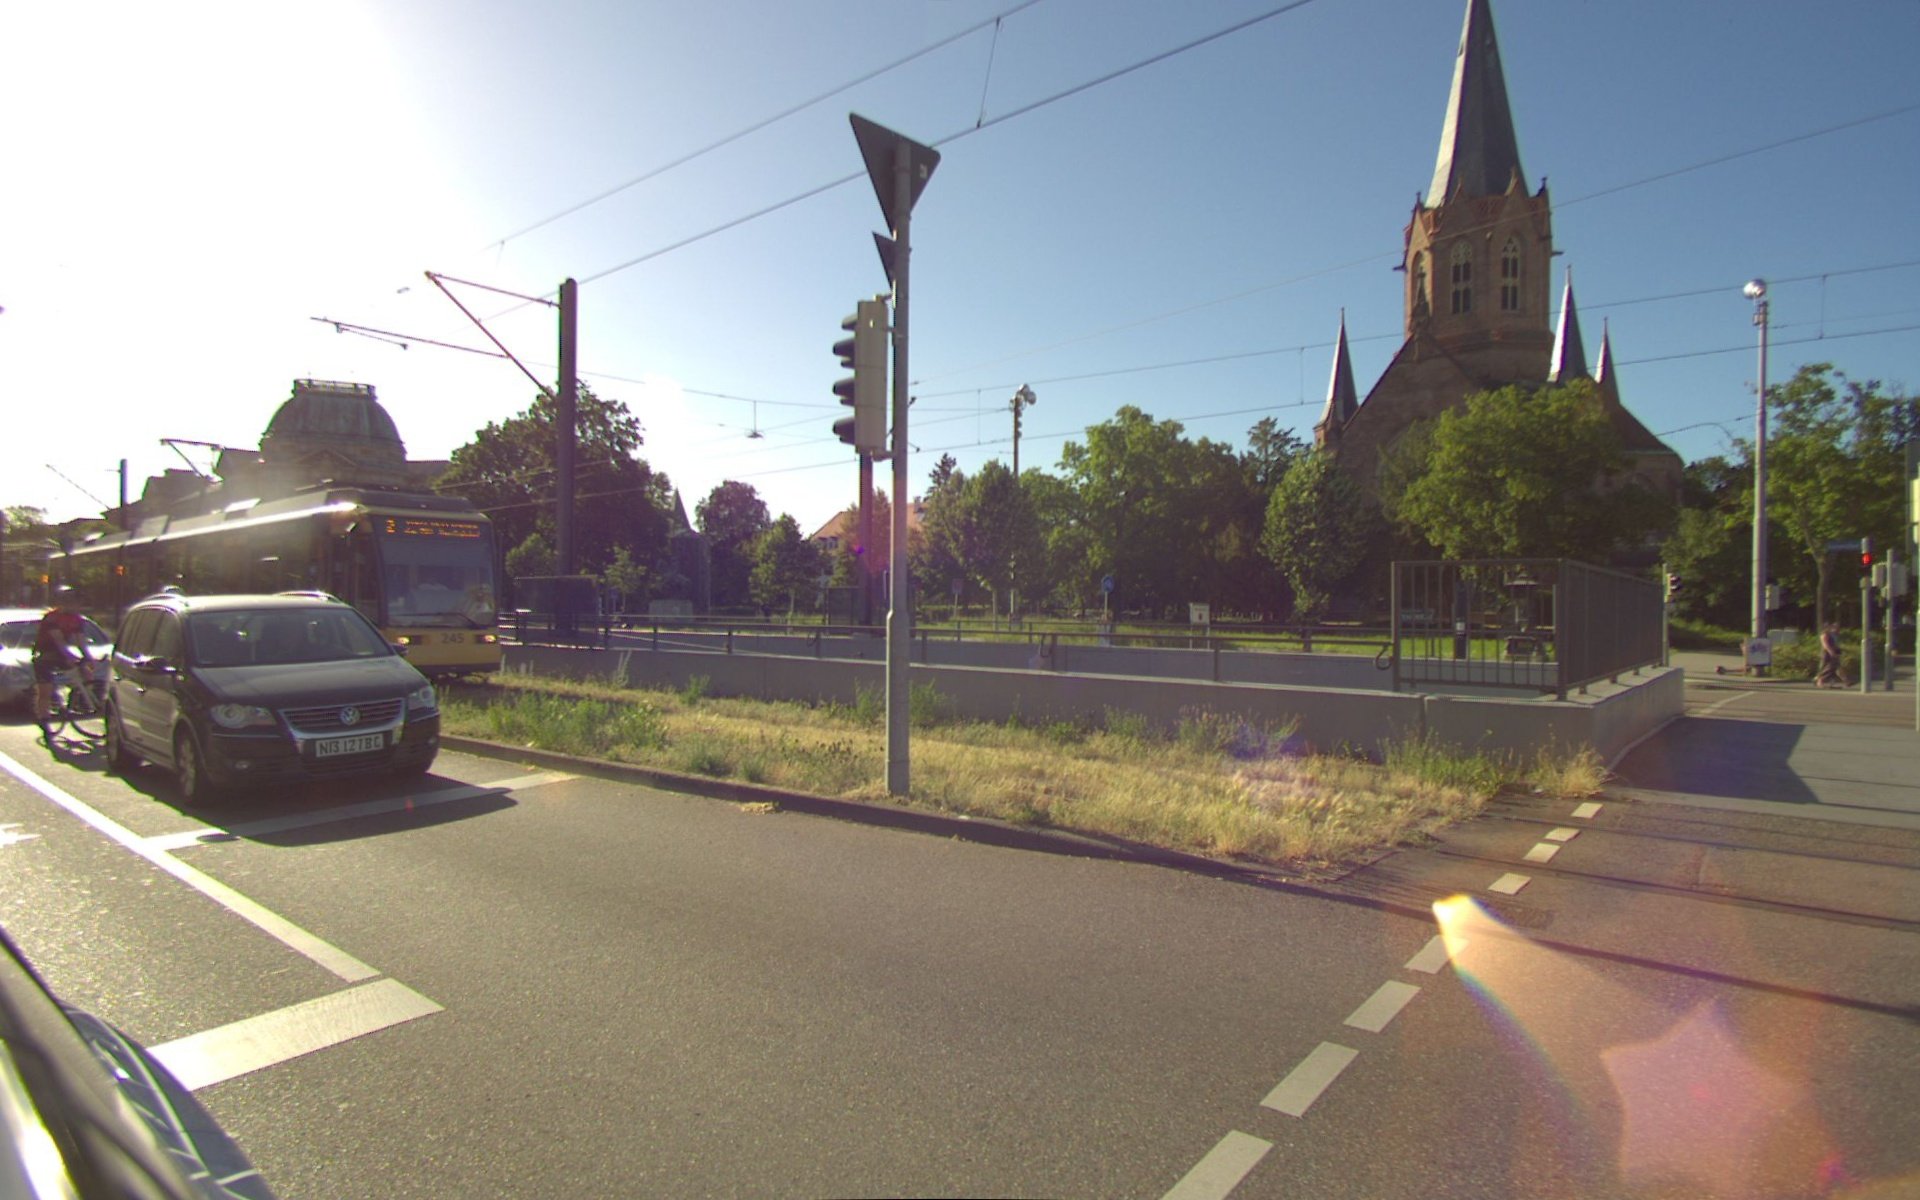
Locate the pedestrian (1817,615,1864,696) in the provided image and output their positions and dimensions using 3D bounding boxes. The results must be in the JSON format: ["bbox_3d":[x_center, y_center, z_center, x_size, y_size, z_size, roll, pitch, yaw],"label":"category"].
[{"bbox_3d":[22.988,1.415,26.435,0.925,2.029,0.867,0,1,41],"label":"pedestrian"}]

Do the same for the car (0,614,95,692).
[{"bbox_3d":[-19.866,1.060,21.309,4.130,1.440,1.867,0,1,40],"label":"car"}]

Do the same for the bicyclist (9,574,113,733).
[{"bbox_3d":[-10.329,0.579,11.626,0.852,1.743,0.695,0,1,35],"label":"bicyclist"}]

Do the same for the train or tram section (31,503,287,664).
[{"bbox_3d":[-22.938,-0.279,28.465,13.622,3.640,2.919,-1,-1,40],"label":"train or tram section"}]

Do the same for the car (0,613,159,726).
[{"bbox_3d":[-14.150,0.970,15.669,4.130,1.440,1.973,0,1,40],"label":"car"}]

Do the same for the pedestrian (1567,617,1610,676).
[{"bbox_3d":[20.597,1.495,33.166,1.114,1.860,0.834,0,1,38],"label":"pedestrian"}]

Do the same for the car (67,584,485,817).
[{"bbox_3d":[-6.195,0.660,8.966,4.353,1.548,1.973,0,1,40],"label":"car"}]

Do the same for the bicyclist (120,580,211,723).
[{"bbox_3d":[-9.725,0.597,12.386,0.919,1.672,0.685,0,1,40],"label":"bicyclist"}]

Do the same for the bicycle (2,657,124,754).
[{"bbox_3d":[-10.335,1.174,11.640,1.902,0.946,0.623,0,1,35],"label":"bicycle"}]

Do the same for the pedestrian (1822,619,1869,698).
[{"bbox_3d":[23.653,1.545,27.049,0.925,2.029,0.867,0,1,41],"label":"pedestrian"}]

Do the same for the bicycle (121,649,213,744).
[{"bbox_3d":[-9.761,1.147,12.439,1.814,1.005,0.532,0,1,40],"label":"bicycle"}]

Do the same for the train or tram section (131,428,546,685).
[{"bbox_3d":[-12.911,-0.536,19.992,13.172,3.713,2.919,-1,-1,40],"label":"train or tram section"}]
